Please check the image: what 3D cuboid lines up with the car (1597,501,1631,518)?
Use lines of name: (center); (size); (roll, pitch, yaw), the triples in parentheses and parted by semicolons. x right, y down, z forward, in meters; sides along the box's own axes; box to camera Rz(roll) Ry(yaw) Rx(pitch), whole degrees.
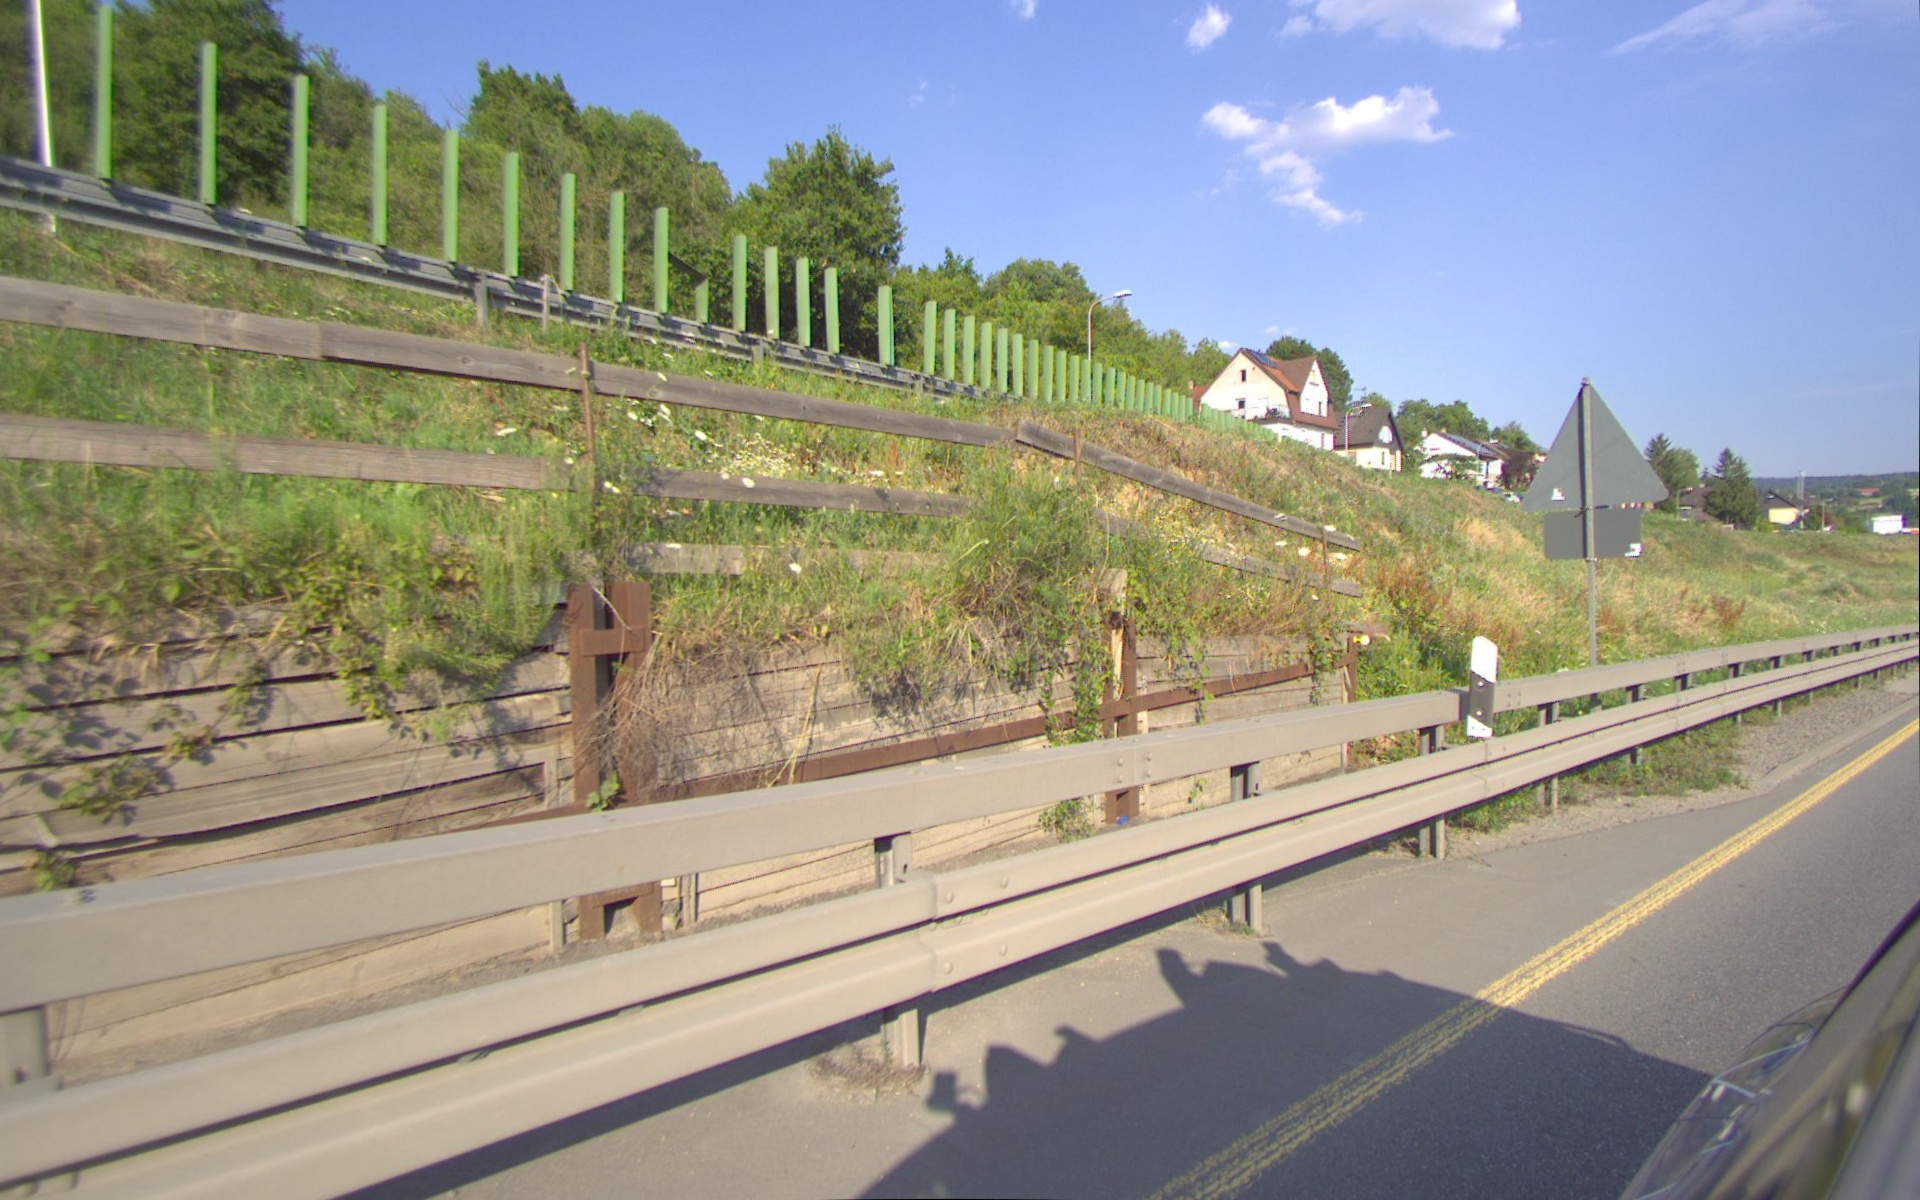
car: (67.310, -9.265, 104.114); (3.931, 1.460, 1.997); (-1, 1, -41)
